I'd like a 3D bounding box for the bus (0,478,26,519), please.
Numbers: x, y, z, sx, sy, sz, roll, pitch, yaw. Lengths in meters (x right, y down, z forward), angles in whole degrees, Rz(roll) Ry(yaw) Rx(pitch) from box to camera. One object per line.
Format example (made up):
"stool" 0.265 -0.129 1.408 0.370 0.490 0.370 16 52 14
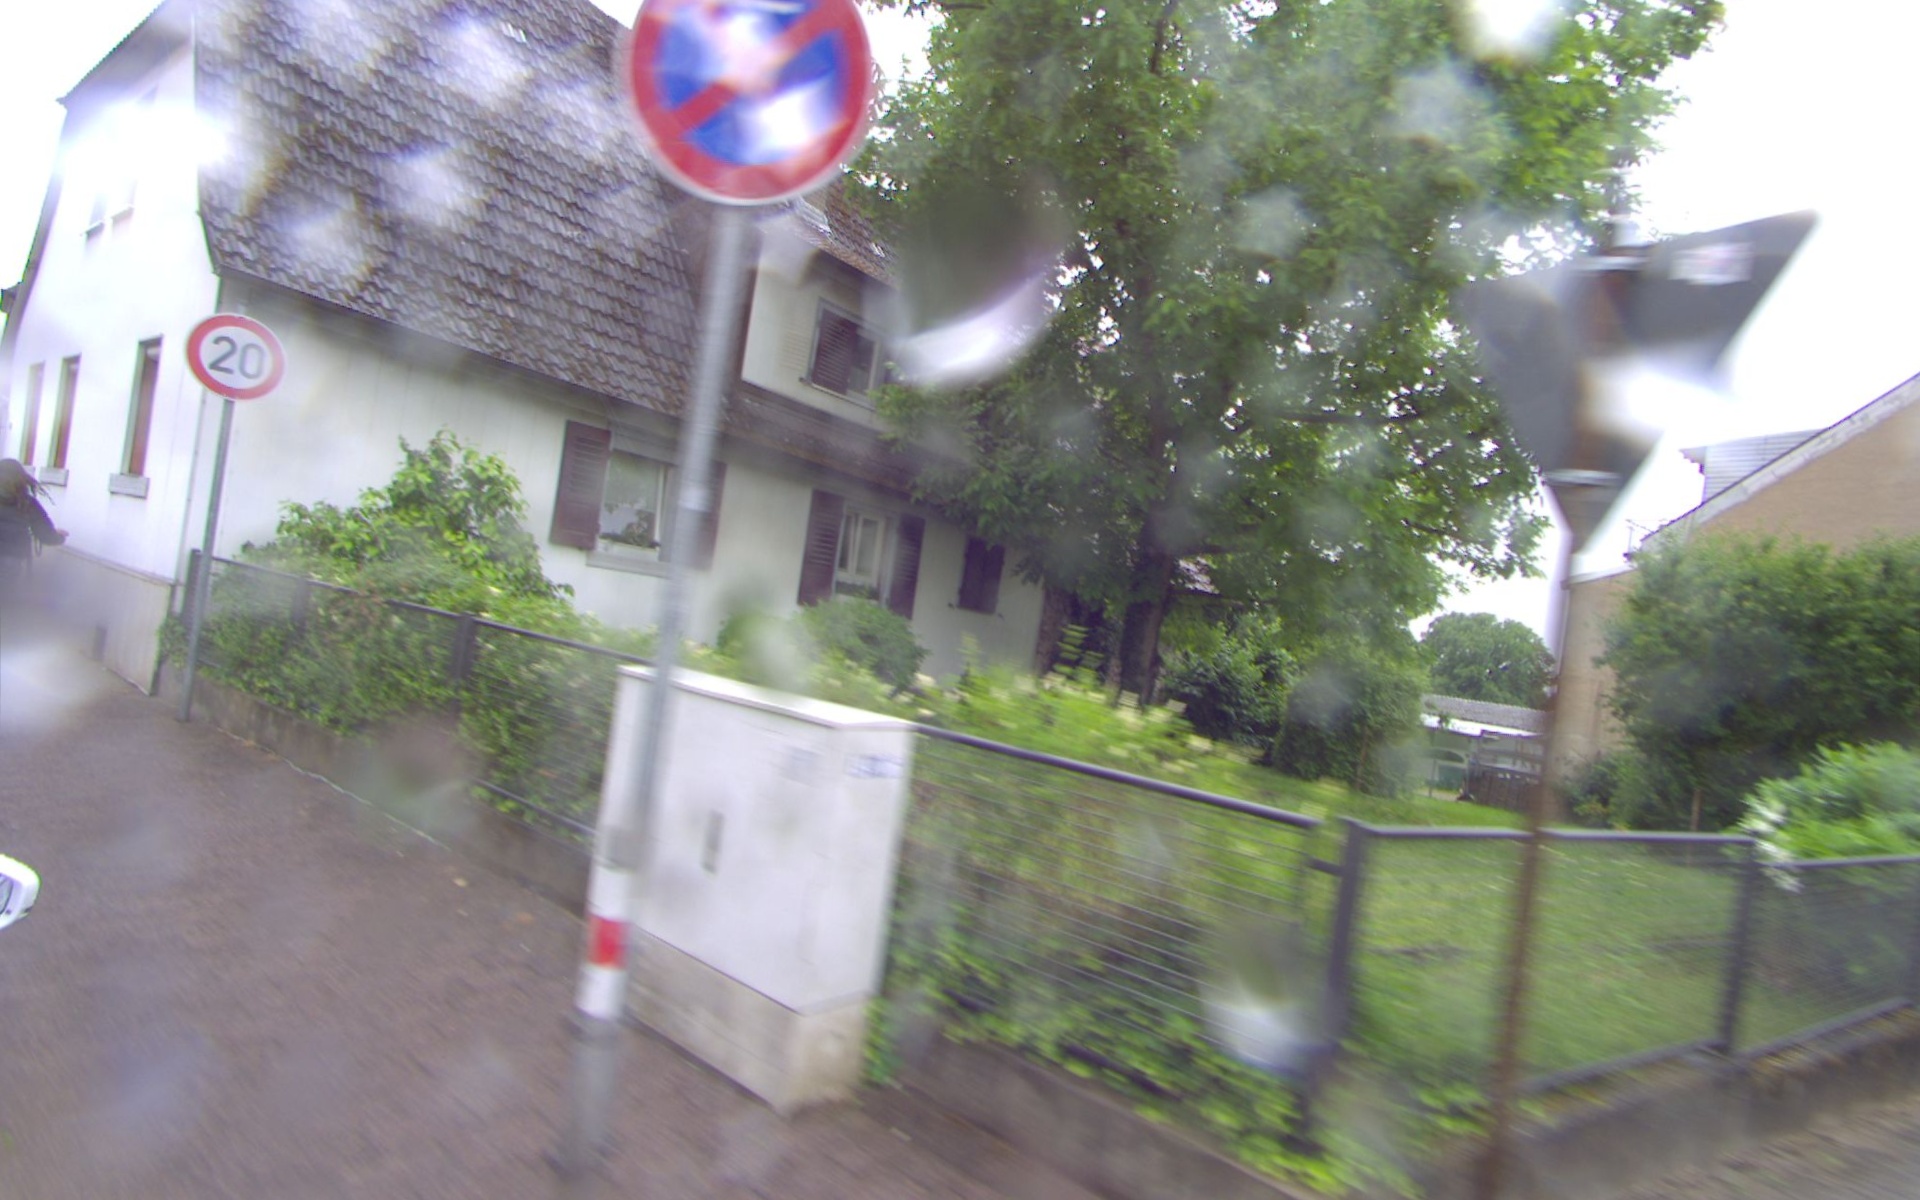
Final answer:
"bus" -84.151 -8.986 88.095 2.787 3.214 8.084 11 -4 -41

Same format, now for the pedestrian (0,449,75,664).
"pedestrian" -8.291 -0.407 8.637 0.809 1.751 0.695 9 -2 40

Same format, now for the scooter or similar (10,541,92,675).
"scooter or similar" -8.017 0.056 8.864 1.084 1.039 0.245 8 -2 39
